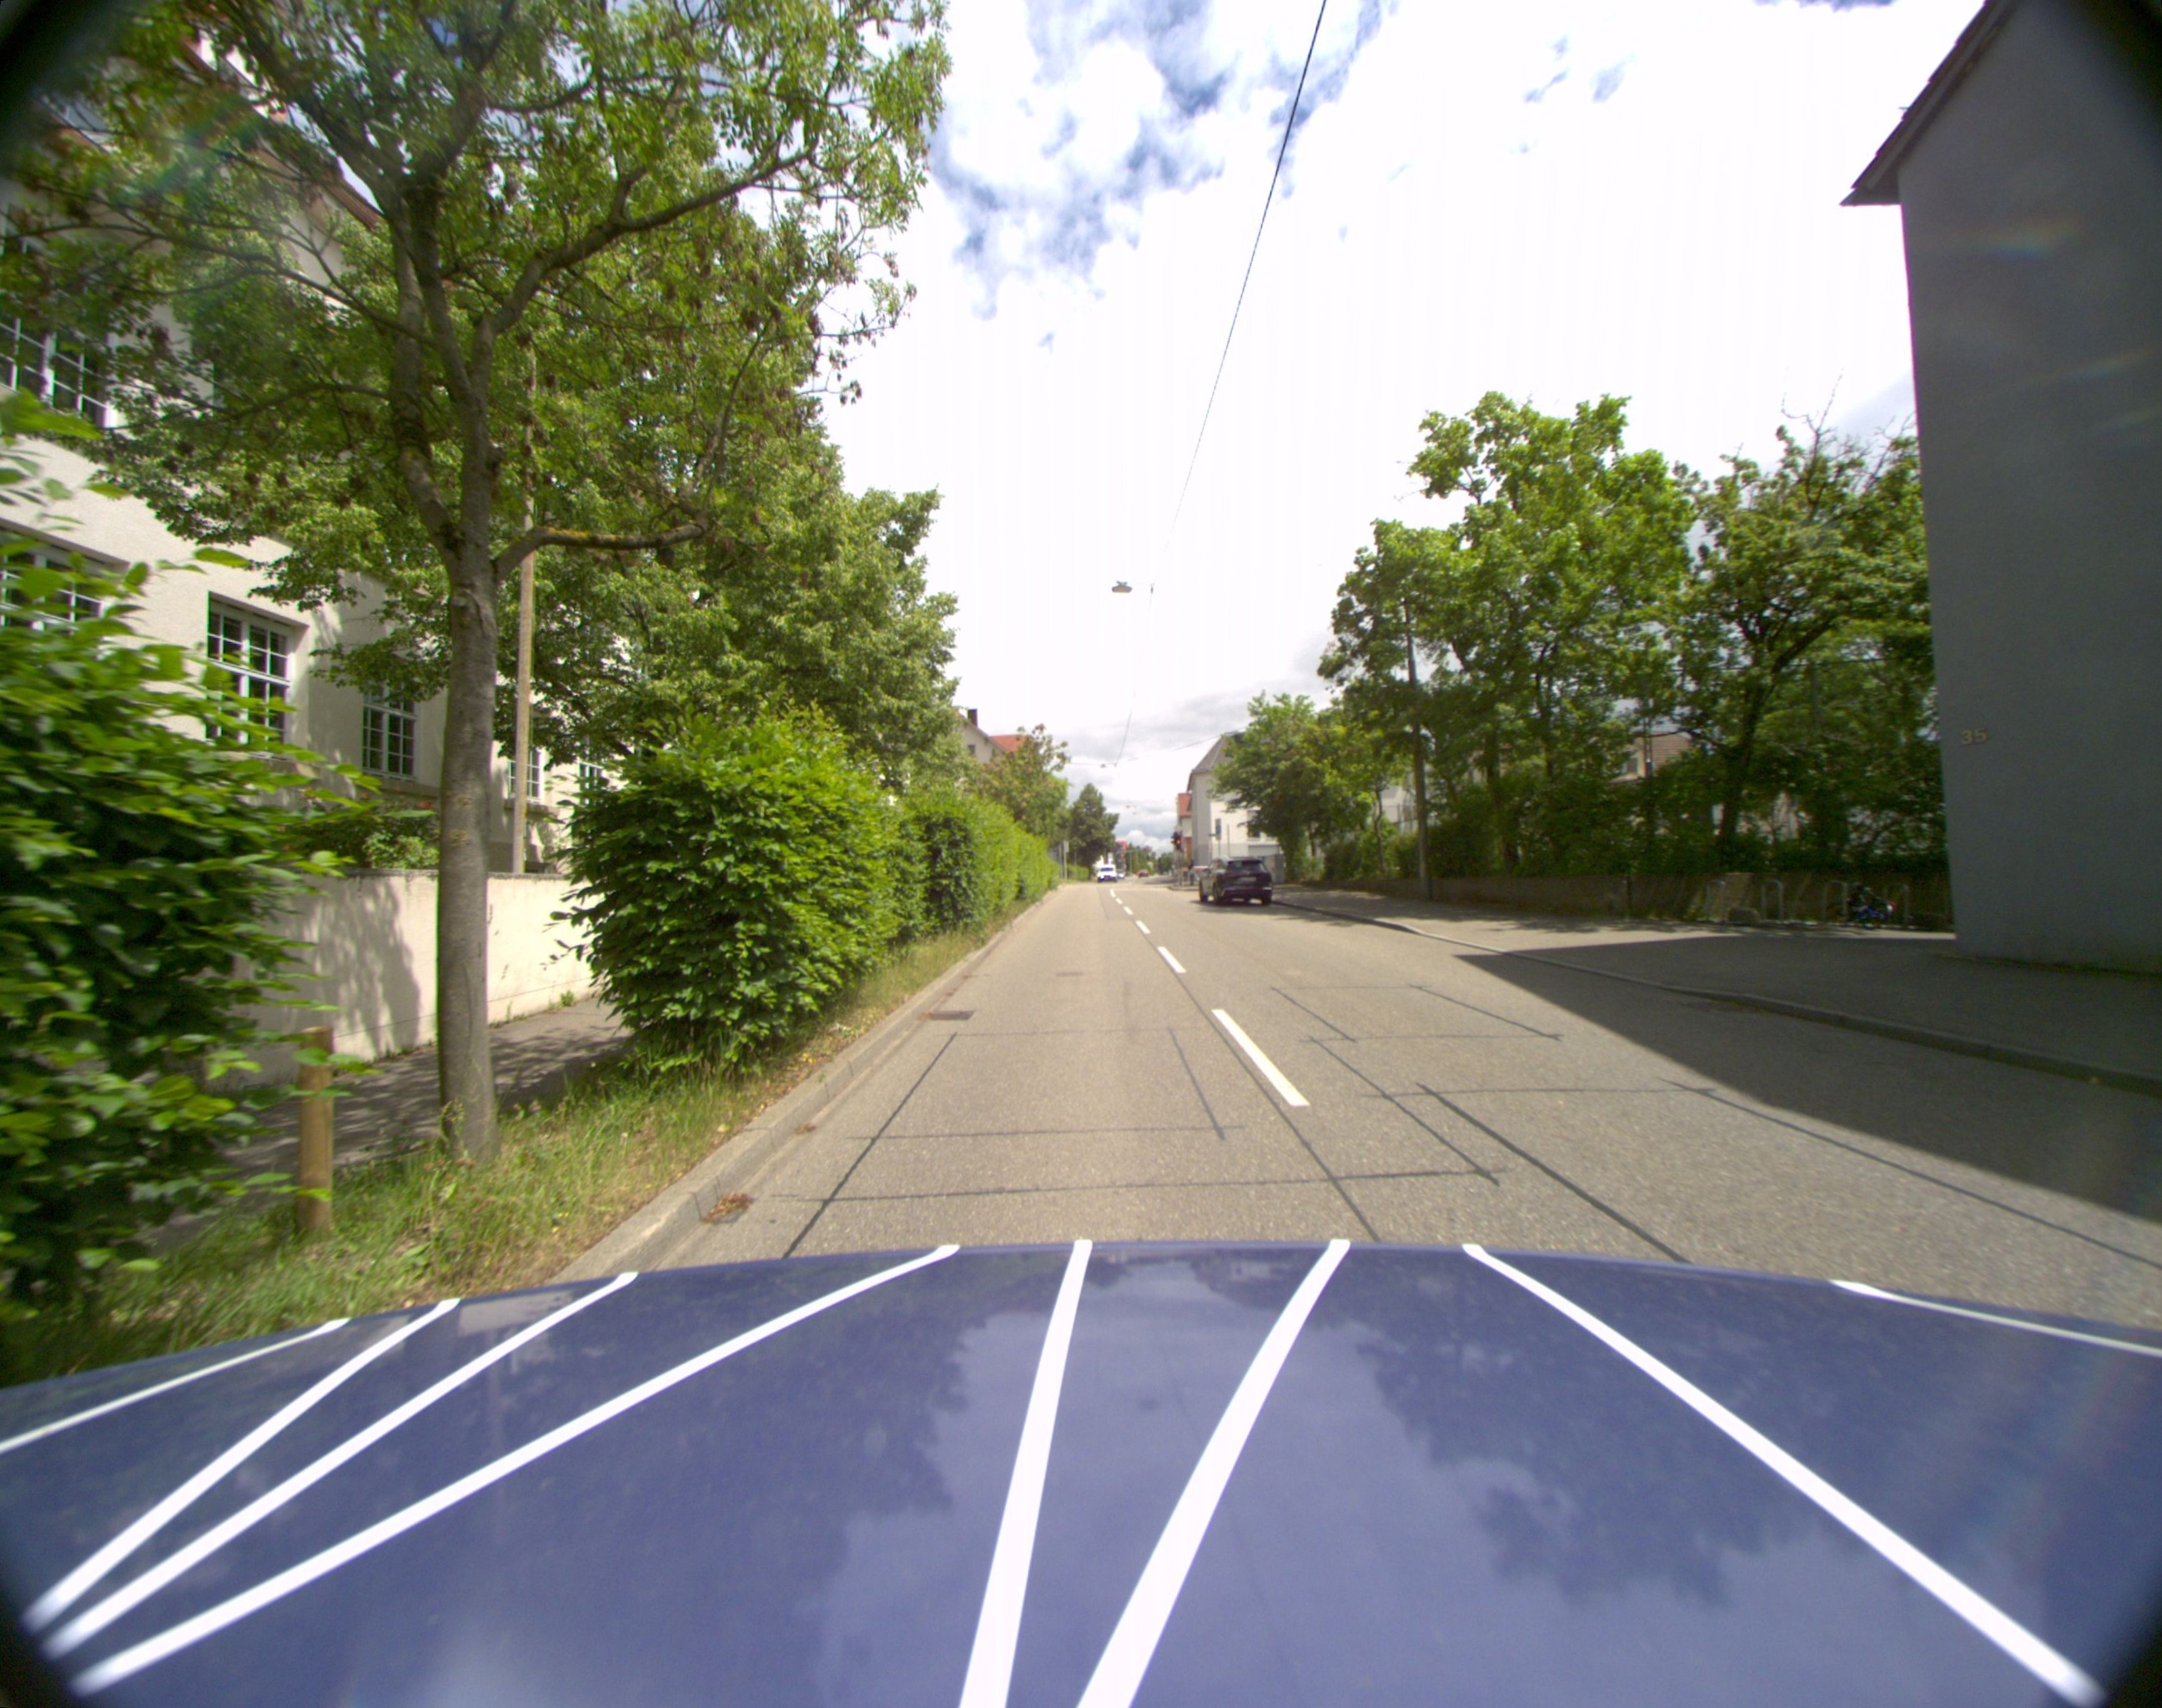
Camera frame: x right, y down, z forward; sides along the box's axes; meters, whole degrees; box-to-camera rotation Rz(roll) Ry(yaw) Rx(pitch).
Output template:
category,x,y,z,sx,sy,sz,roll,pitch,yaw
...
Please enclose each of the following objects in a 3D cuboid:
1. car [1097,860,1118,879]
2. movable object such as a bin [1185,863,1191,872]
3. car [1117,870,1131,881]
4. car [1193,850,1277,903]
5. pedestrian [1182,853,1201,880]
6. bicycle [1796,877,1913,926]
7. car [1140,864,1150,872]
category,x,y,z,sx,sy,sz,roll,pitch,yaw
car,2.649,1.556,76.081,1.893,1.717,4.295,-2,-1,4
movable object such as a bin,12.813,1.639,91.087,0.642,1.068,0.661,-2,-1,3
car,6.431,3.171,112.736,1.794,1.476,4.003,-3,-2,6
car,5.167,0.747,26.147,1.800,1.600,4.646,-2,-1,-2
pedestrian,6.542,0.752,44.957,0.774,1.587,0.670,-2,-1,-35
bicycle,13.277,0.800,13.101,0.588,0.746,1.443,2,0,4
car,12.618,2.725,150.082,1.794,1.476,4.003,-3,-2,6
